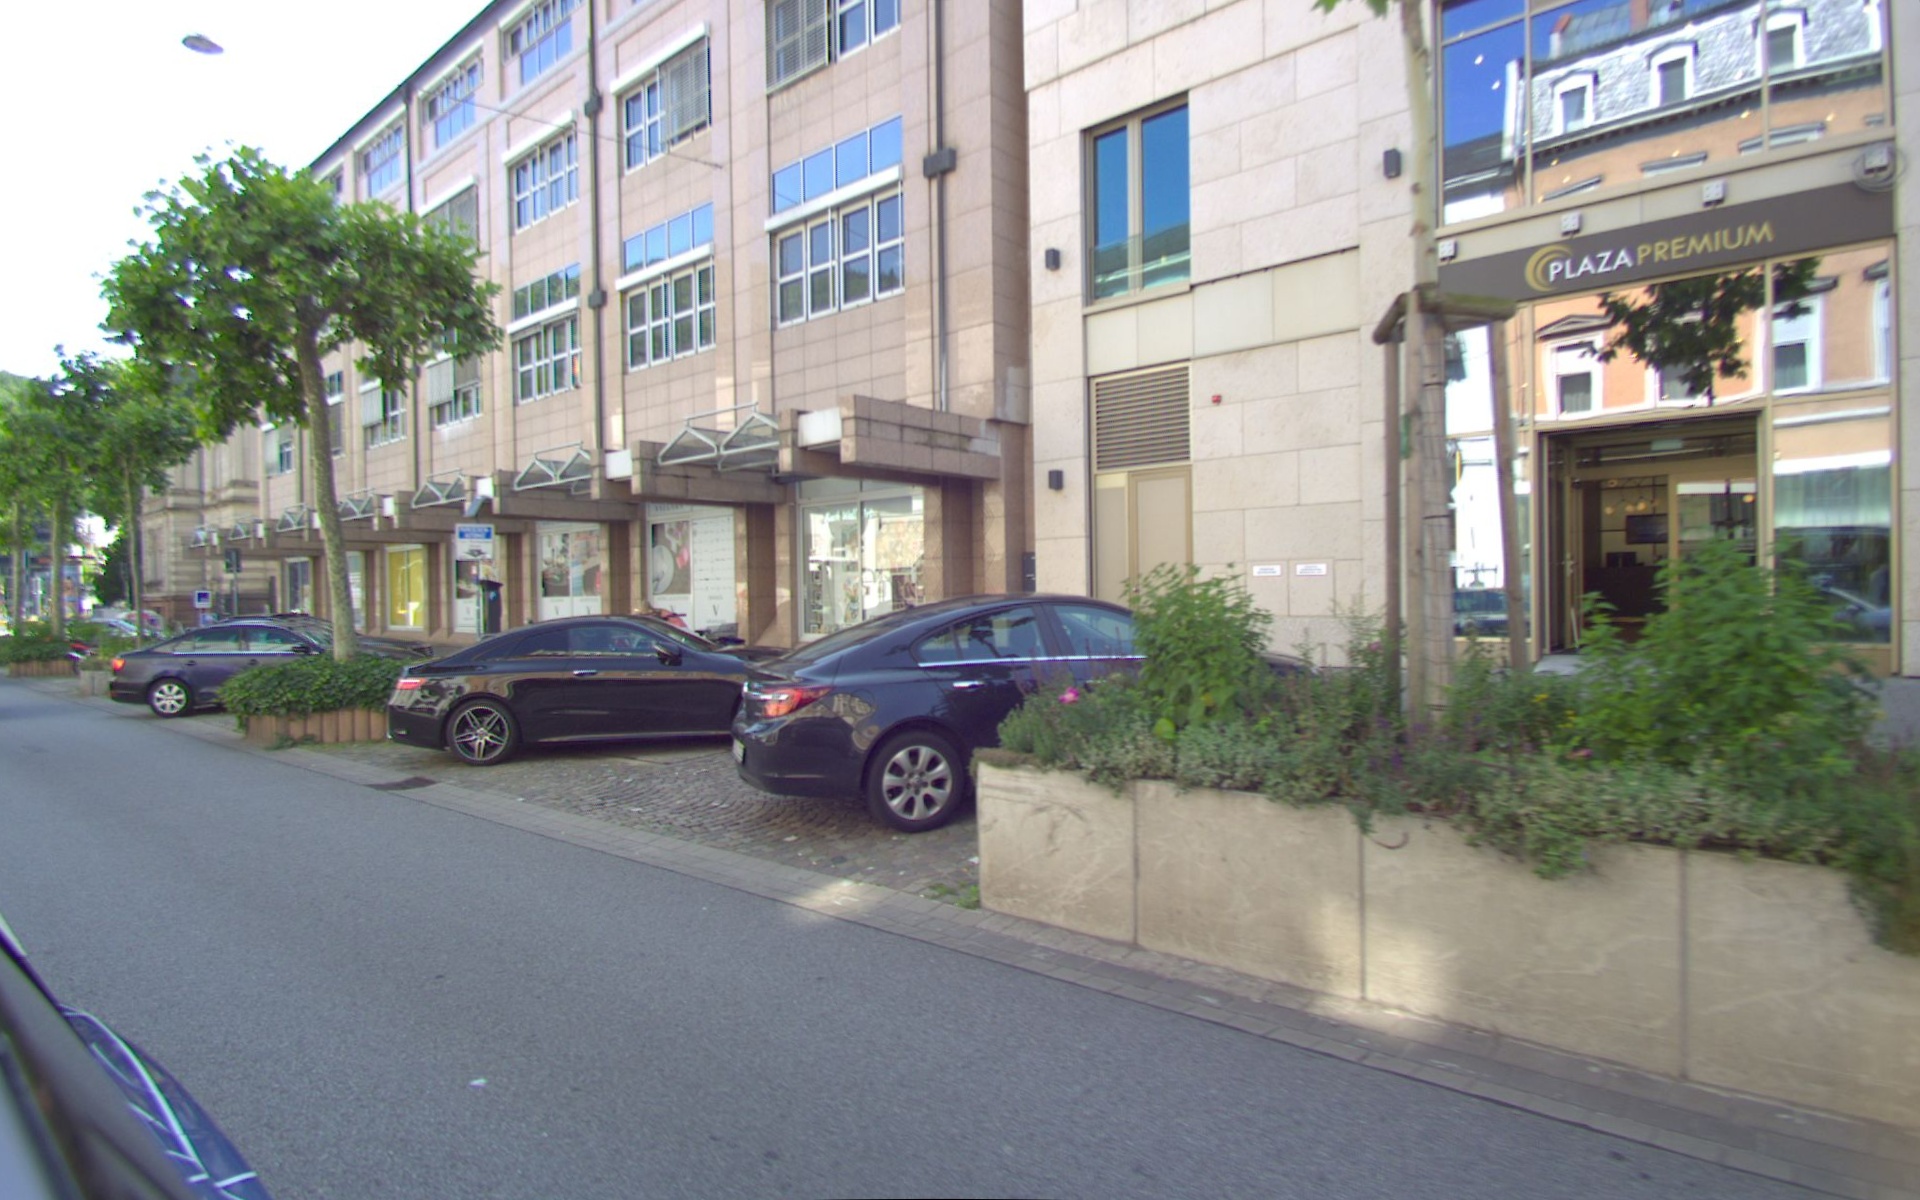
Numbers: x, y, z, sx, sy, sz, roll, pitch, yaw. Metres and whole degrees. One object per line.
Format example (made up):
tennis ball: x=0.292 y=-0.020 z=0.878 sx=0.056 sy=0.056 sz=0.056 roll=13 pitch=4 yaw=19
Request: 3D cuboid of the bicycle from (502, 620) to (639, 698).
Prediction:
bicycle: x=-6.020 y=0.884 z=15.744 sx=0.476 sy=1.110 sz=1.975 roll=-2 pitch=-1 yaw=42

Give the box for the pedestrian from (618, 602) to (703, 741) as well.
pedestrian: x=-4.268 y=0.984 z=14.424 sx=0.844 sy=1.893 sz=0.829 roll=-1 pitch=-1 yaw=42

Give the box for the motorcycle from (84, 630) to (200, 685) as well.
motorcycle: x=-20.381 y=1.416 z=25.270 sx=2.028 sy=1.299 sz=0.981 roll=-1 pitch=-1 yaw=-11

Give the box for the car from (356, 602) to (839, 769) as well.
car: x=-3.627 y=0.836 z=10.825 sx=4.551 sy=1.457 sz=1.735 roll=-2 pitch=-1 yaw=-5

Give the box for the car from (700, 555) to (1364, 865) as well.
car: x=0.494 y=0.601 z=7.485 sx=4.455 sy=1.516 sz=1.798 roll=-5 pitch=3 yaw=-18

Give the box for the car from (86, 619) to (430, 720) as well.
car: x=-11.467 y=1.105 z=16.844 sx=4.333 sy=1.457 sz=1.890 roll=-1 pitch=-1 yaw=-9

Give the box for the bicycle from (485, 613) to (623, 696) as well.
bicycle: x=-6.410 y=0.834 z=16.074 sx=0.476 sy=1.110 sz=1.975 roll=-2 pitch=2 yaw=42

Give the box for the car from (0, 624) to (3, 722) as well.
car: x=-16.771 y=1.164 z=16.002 sx=4.102 sy=1.489 sz=1.845 roll=-3 pitch=-3 yaw=39

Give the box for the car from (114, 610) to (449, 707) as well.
car: x=-12.832 y=1.067 z=19.466 sx=5.051 sy=1.645 sz=1.847 roll=-1 pitch=-1 yaw=-10

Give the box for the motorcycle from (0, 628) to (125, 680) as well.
motorcycle: x=-24.825 y=1.472 z=27.741 sx=3.058 sy=1.361 sz=0.979 roll=-1 pitch=-1 yaw=-2
